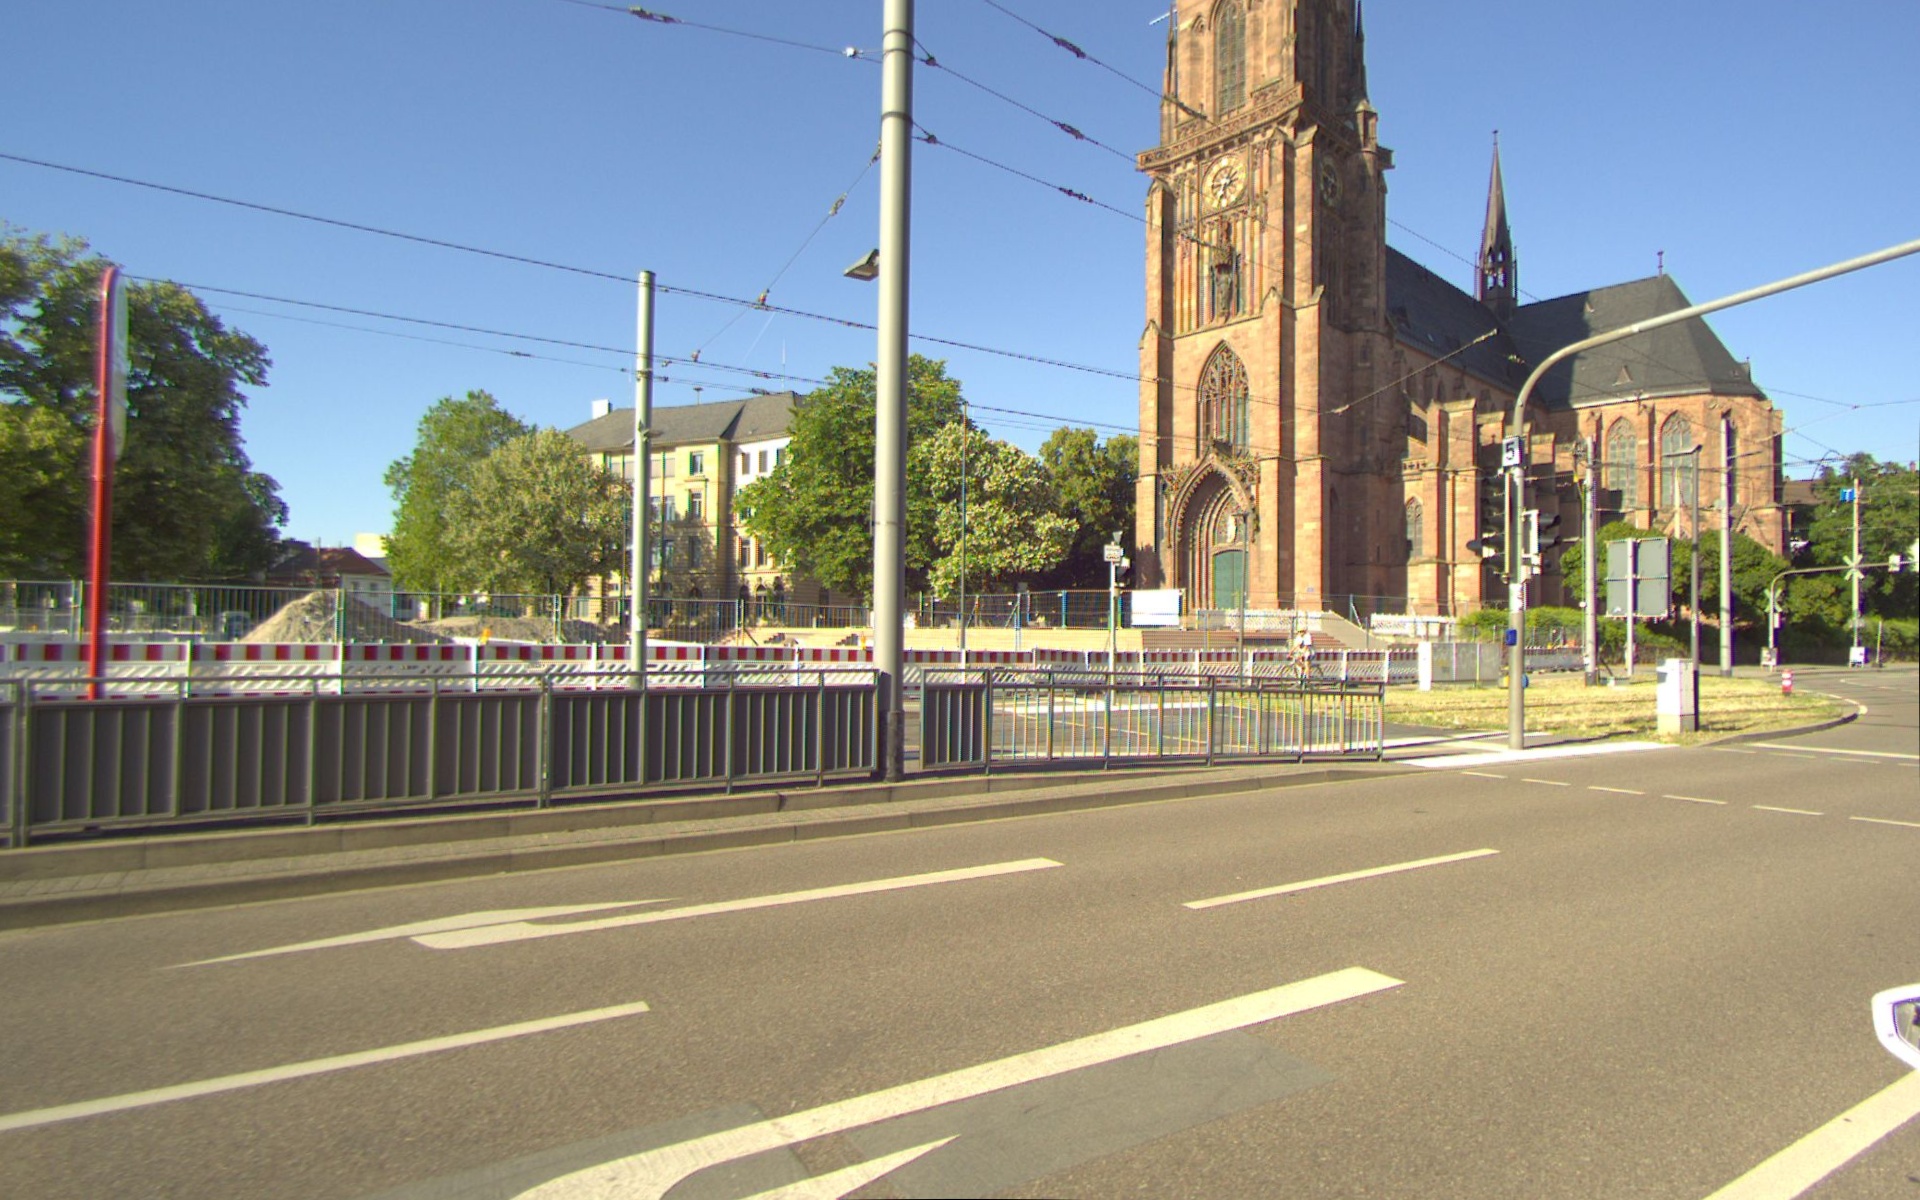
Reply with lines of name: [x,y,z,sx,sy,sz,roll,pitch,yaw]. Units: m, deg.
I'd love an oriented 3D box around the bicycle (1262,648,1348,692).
bicycle: [9.994,2.009,29.031,2.798,1.111,0.955,-1,-3,-38]

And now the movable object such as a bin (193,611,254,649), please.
movable object such as a bin: [-43.095,1.745,58.744,3.941,2.040,1.990,-3,-2,40]

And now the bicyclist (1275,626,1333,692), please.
bicyclist: [9.923,1.690,28.999,1.307,1.832,0.956,-1,-3,-38]
